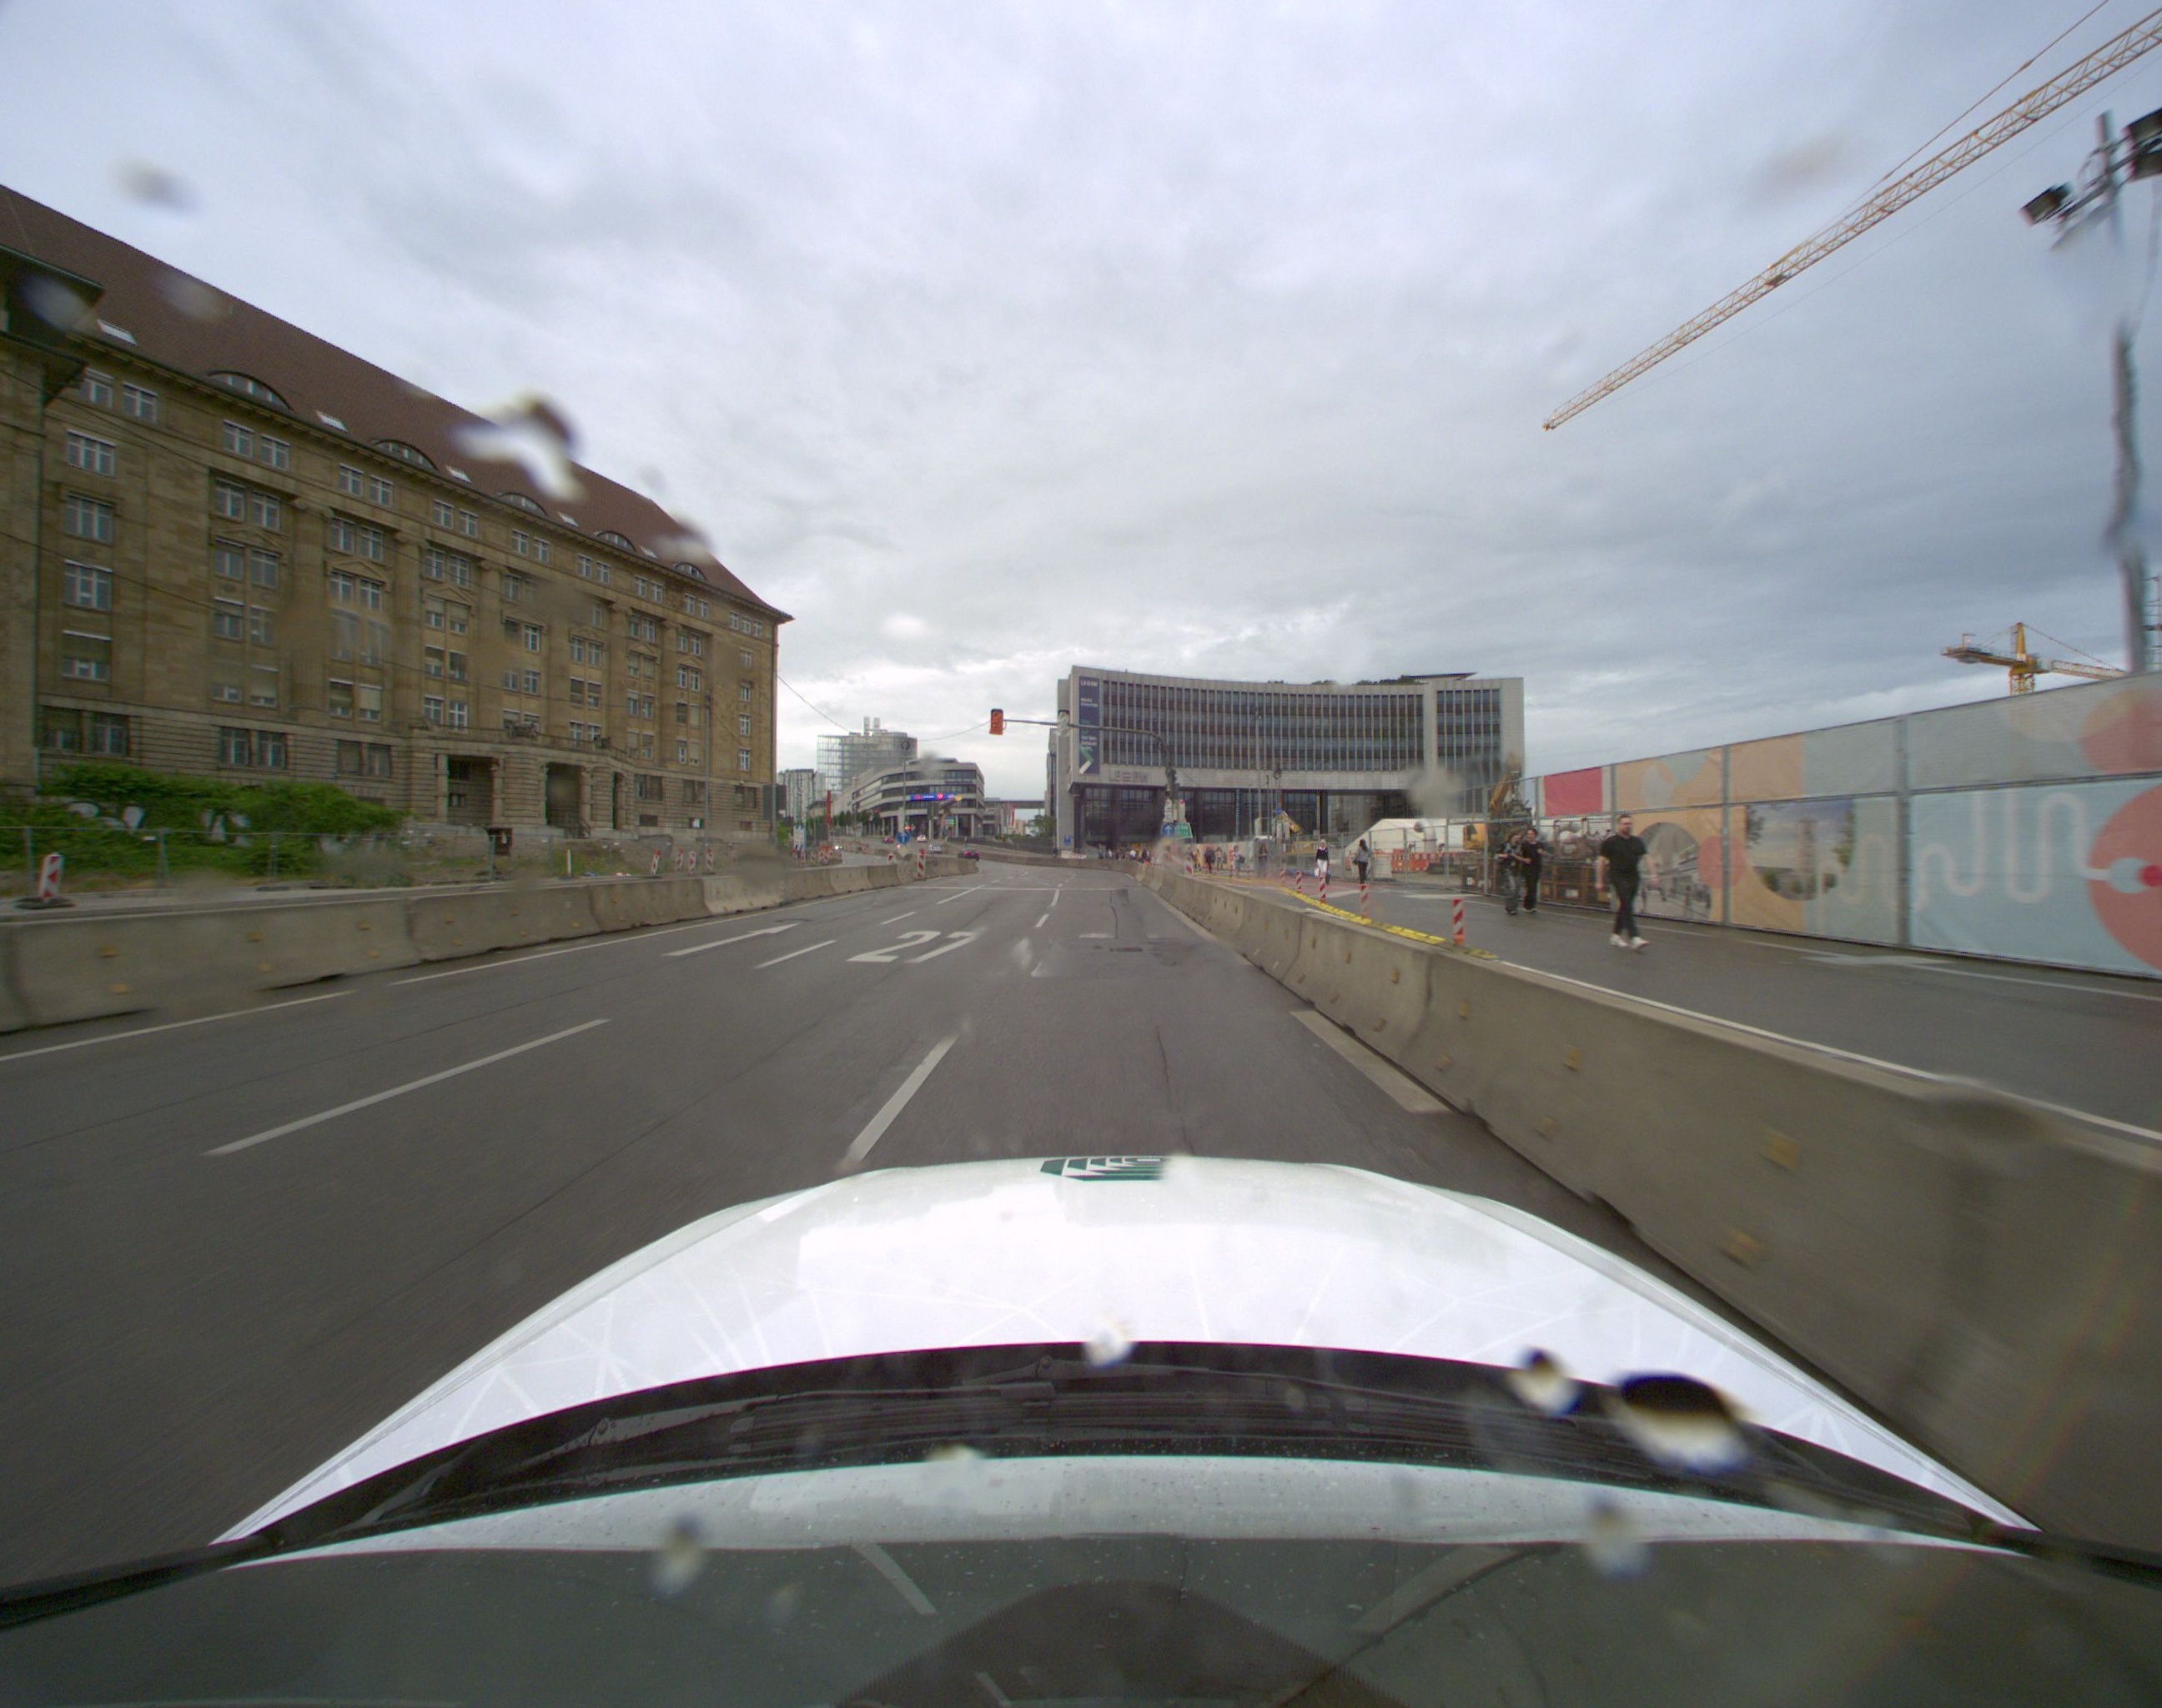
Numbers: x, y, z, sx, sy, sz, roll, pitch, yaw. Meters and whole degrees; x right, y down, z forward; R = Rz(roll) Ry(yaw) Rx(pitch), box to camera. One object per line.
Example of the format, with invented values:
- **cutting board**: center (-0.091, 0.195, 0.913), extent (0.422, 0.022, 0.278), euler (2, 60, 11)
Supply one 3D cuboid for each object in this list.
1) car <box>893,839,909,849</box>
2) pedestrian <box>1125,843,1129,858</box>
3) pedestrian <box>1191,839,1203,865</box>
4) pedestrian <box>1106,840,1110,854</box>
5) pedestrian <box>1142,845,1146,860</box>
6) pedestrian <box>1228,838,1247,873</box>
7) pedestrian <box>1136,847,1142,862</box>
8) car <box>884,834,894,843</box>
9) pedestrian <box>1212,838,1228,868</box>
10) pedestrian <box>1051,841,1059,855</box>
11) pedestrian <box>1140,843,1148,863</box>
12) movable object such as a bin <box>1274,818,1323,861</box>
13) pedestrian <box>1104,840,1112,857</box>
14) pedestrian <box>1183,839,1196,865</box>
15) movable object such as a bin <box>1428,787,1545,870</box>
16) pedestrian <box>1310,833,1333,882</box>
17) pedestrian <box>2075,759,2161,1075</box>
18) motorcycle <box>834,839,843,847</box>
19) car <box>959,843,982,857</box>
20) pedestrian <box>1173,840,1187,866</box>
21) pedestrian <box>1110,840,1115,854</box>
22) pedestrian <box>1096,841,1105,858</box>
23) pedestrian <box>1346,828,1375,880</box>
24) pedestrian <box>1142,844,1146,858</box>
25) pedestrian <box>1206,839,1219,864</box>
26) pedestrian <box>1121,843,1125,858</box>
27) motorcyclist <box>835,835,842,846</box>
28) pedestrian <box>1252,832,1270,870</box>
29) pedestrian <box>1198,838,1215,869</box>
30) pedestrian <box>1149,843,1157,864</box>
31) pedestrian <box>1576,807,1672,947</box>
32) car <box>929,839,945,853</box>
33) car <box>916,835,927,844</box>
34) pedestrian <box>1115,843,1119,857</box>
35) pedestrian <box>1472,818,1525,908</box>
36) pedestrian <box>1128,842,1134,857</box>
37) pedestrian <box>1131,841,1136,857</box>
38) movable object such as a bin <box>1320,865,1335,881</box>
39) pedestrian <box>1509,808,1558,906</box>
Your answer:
- **car**: center (-28.836, -1.633, 130.384), extent (1.750, 1.506, 3.723), euler (0, 0, -25)
- **pedestrian**: center (5.329, -0.367, 94.251), extent (0.445, 1.704, 0.648), euler (0, 1, 8)
- **pedestrian**: center (8.490, -0.130, 59.654), extent (0.731, 1.854, 0.831), euler (0, 0, -2)
- **pedestrian**: center (3.231, -0.846, 96.416), extent (0.447, 1.704, 0.646), euler (0, 1, -5)
- **pedestrian**: center (7.180, -0.194, 92.565), extent (0.447, 1.704, 0.646), euler (0, 1, -1)
- **pedestrian**: center (8.434, 0.055, 43.875), extent (0.777, 1.861, 0.948), euler (0, 1, -4)
- **pedestrian**: center (6.582, 0.088, 92.597), extent (0.624, 1.704, 0.646), euler (0, 1, -2)
- **car**: center (-38.708, -3.134, 164.223), extent (1.996, 1.804, 4.246), euler (0, 1, -14)
- **pedestrian**: center (8.871, -0.059, 51.886), extent (0.777, 1.861, 1.057), euler (0, 1, -4)
- **pedestrian**: center (-3.361, -0.829, 104.621), extent (0.759, 1.790, 1.050), euler (0, 0, -21)
- **pedestrian**: center (6.372, -0.073, 82.285), extent (0.780, 2.013, 0.864), euler (0, 1, 6)
- **movable object such as a bin**: center (21.183, -1.405, 79.407), extent (3.100, 4.029, 3.669), euler (0, 0, -23)
- **pedestrian**: center (2.628, -0.513, 79.252), extent (0.659, 1.641, 0.820), euler (-1, 1, -12)
- **pedestrian**: center (7.801, -0.171, 58.774), extent (0.777, 1.861, 0.810), euler (0, 1, -4)
- **movable object such as a bin**: center (18.472, -1.115, 37.473), extent (3.901, 3.492, 4.372), euler (-1, 1, 13)
- **pedestrian**: center (9.272, 0.131, 31.404), extent (0.663, 1.861, 0.682), euler (0, 1, -4)
- **pedestrian**: center (6.739, 0.364, 4.797), extent (0.922, 1.833, 0.686), euler (0, 0, 2)
- **motorcycle**: center (-32.211, -1.470, 108.154), extent (0.873, 1.148, 2.136), euler (-1, 1, -25)
- **car**: center (-12.941, -0.458, 95.424), extent (1.682, 1.508, 3.715), euler (0, -2, -24)
- **pedestrian**: center (7.057, -0.098, 58.030), extent (0.817, 1.827, 1.110), euler (-1, 0, -3)
- **pedestrian**: center (3.723, -0.835, 96.485), extent (0.452, 1.704, 0.646), euler (0, 1, -5)
- **pedestrian**: center (1.909, -0.487, 79.071), extent (0.751, 1.641, 0.820), euler (-1, 1, -12)
- **pedestrian**: center (10.174, -0.021, 29.635), extent (0.785, 1.861, 0.682), euler (0, 1, -4)
- **pedestrian**: center (7.316, -0.352, 94.622), extent (0.499, 1.704, 0.732), euler (0, 1, -2)
- **pedestrian**: center (9.996, -0.206, 61.783), extent (0.777, 1.861, 0.810), euler (-2, 1, -4)
- **pedestrian**: center (4.852, -0.395, 94.595), extent (0.446, 1.704, 0.647), euler (0, 1, 2)
- **motorcyclist**: center (-32.214, -1.820, 108.180), extent (0.802, 1.451, 0.818), euler (-1, 0, -25)
- **pedestrian**: center (8.892, -0.137, 40.323), extent (0.688, 1.861, 0.810), euler (0, 1, -4)
- **pedestrian**: center (7.795, -0.044, 50.592), extent (0.868, 1.861, 0.947), euler (0, 1, -4)
- **pedestrian**: center (7.299, -0.053, 82.186), extent (0.780, 2.013, 0.864), euler (0, 1, 6)
- **pedestrian**: center (7.546, 0.302, 11.355), extent (0.793, 1.877, 0.820), euler (0, 0, 2)
- **car**: center (-20.760, -1.169, 117.345), extent (1.744, 1.875, 3.753), euler (-1, 1, -19)
- **car**: center (-33.077, -3.085, 168.449), extent (1.996, 1.804, 4.246), euler (0, 1, -14)
- **pedestrian**: center (4.274, -0.449, 96.636), extent (0.447, 1.704, 0.646), euler (0, 1, -5)
- **pedestrian**: center (8.659, 0.184, 16.900), extent (0.793, 1.833, 0.626), euler (0, 0, 2)
- **pedestrian**: center (5.707, -0.483, 92.866), extent (0.515, 1.704, 0.568), euler (-1, 1, -37)
- **pedestrian**: center (5.917, -0.539, 91.253), extent (0.527, 1.818, 0.536), euler (0, 1, -1)
- **movable object such as a bin**: center (9.636, 0.738, 31.829), extent (0.432, 0.624, 0.534), euler (0, 1, -4)
- **pedestrian**: center (9.459, 0.053, 17.043), extent (0.676, 2.013, 0.687), euler (-1, 2, 1)
